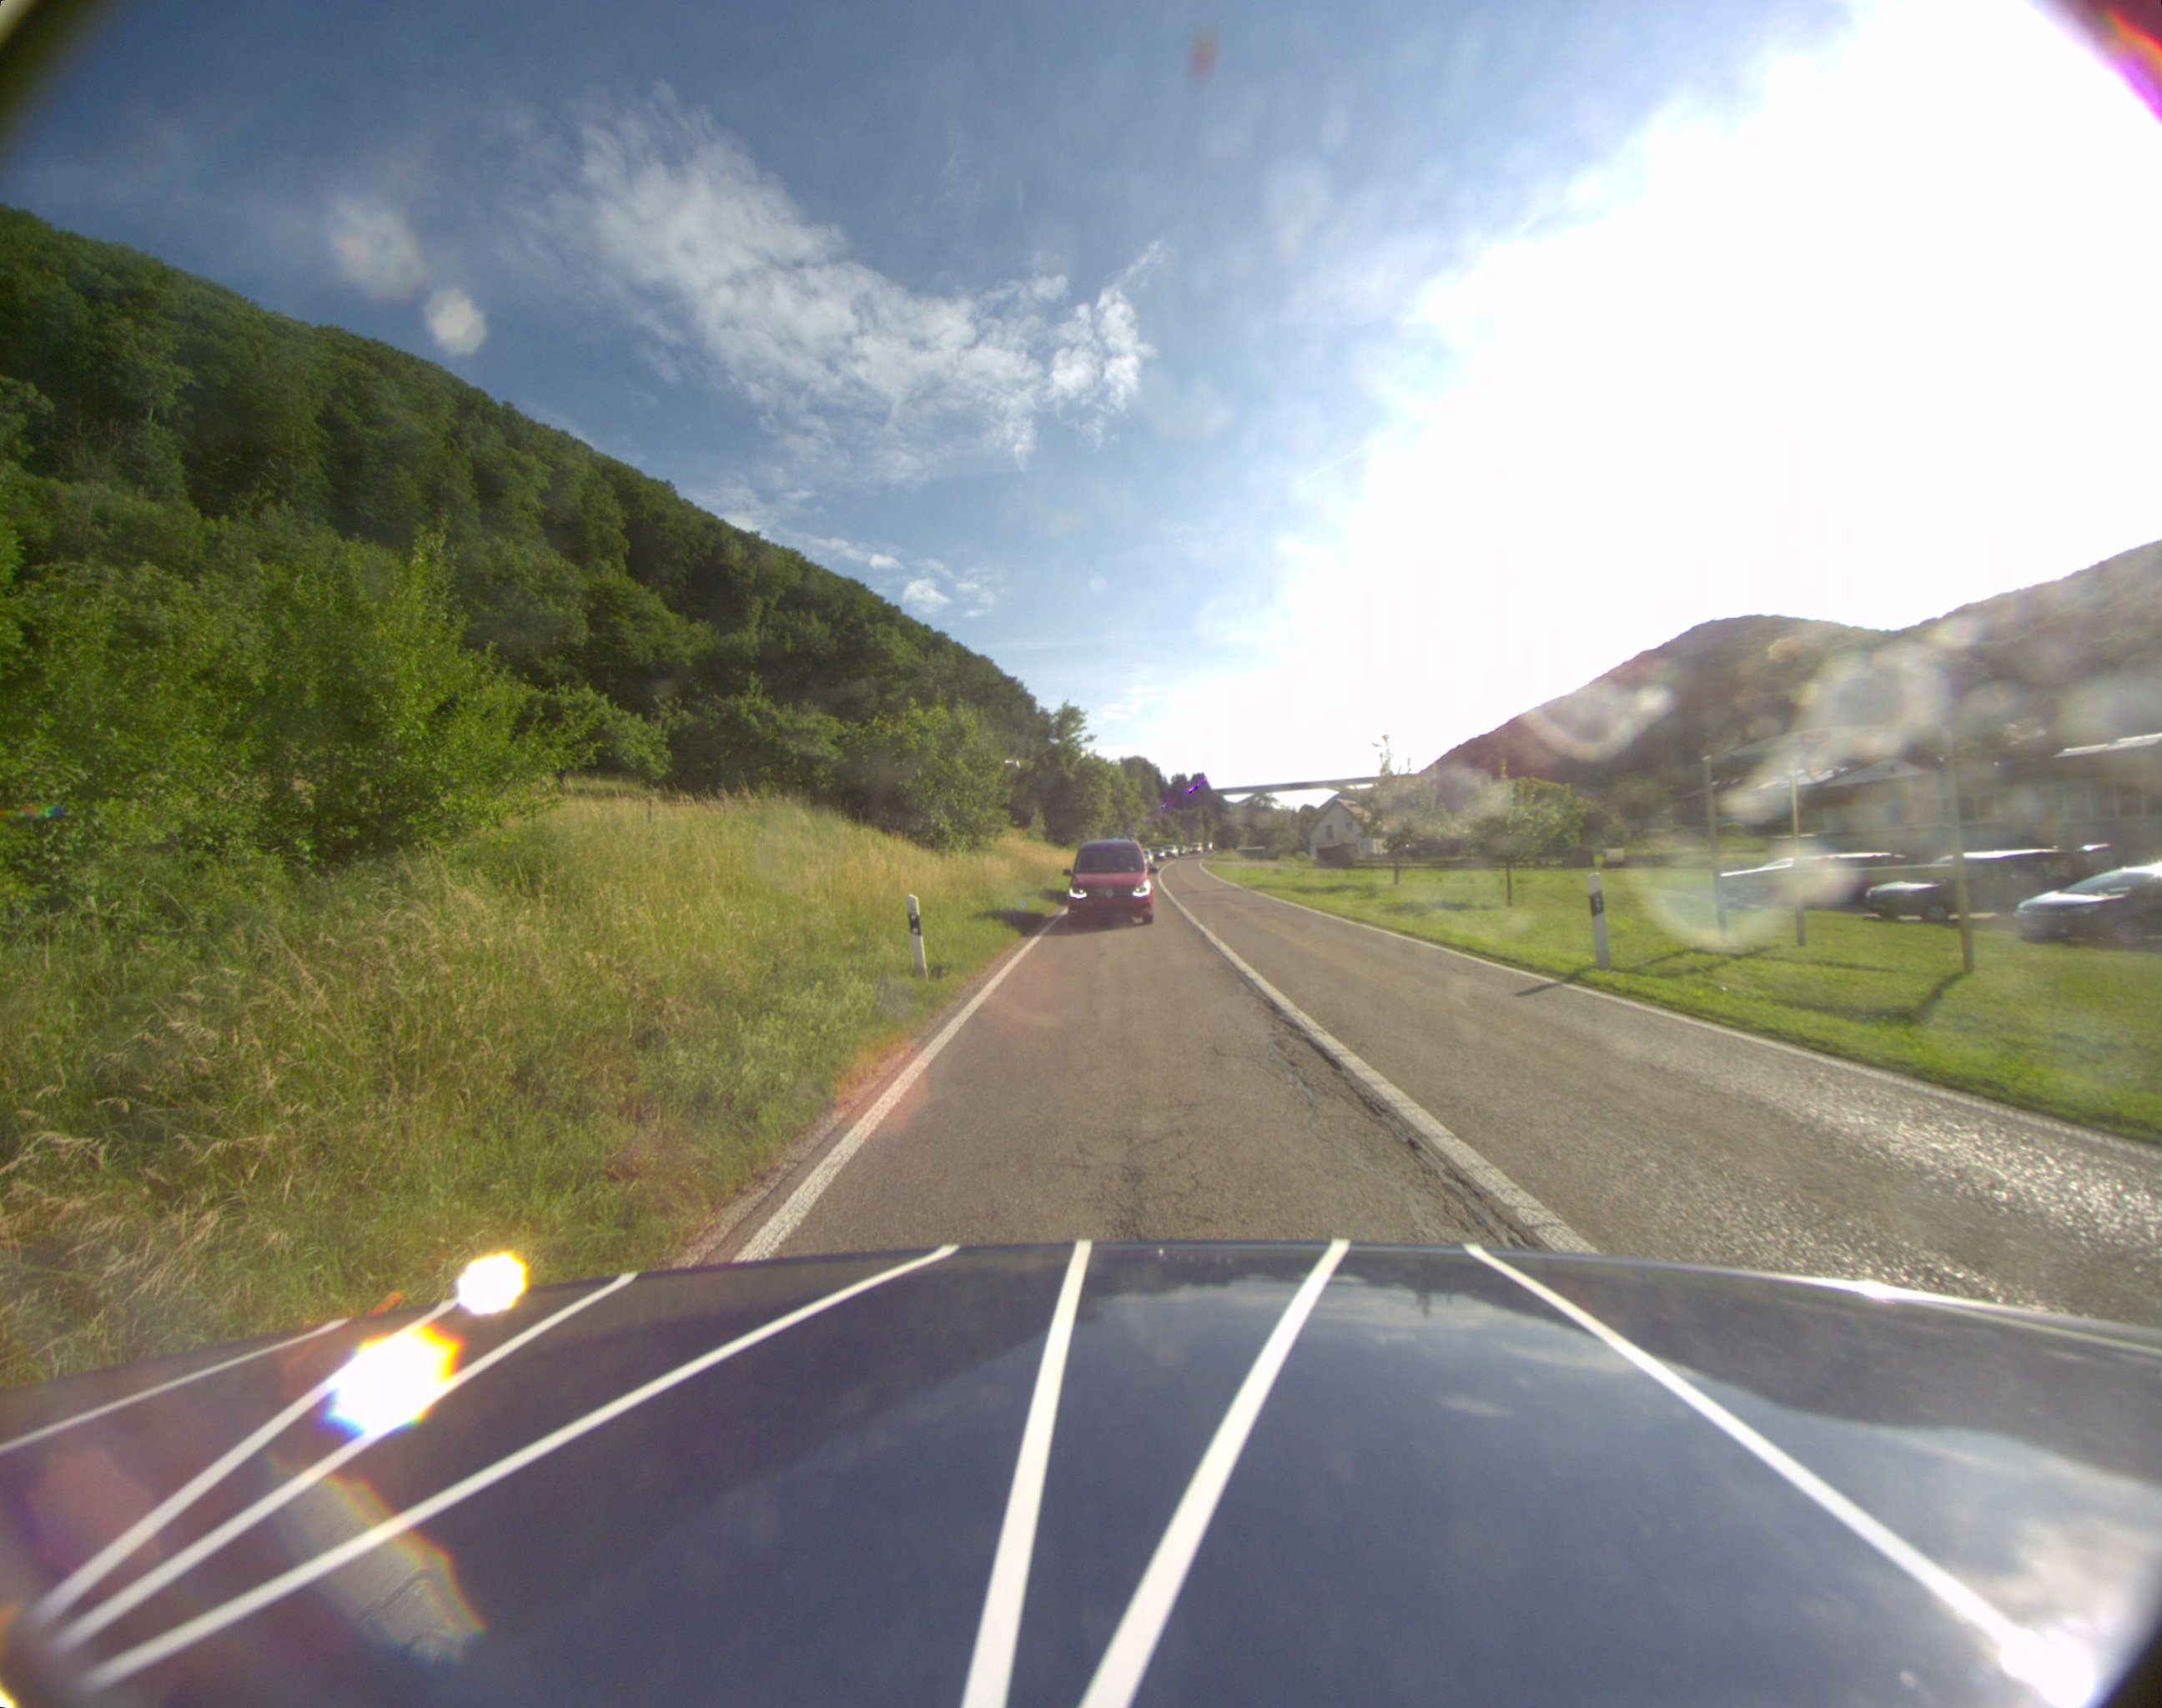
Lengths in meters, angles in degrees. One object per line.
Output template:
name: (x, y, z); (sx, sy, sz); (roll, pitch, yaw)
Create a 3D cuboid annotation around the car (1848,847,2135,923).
car: (24.316, 0.808, 20.492); (5.000, 1.783, 1.685); (-2, 1, 11)

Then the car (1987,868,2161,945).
car: (22.304, 1.061, 15.959); (4.014, 1.443, 1.686); (-2, -1, 11)

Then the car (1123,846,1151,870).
car: (3.938, 0.271, 53.228); (1.629, 1.470, 3.681); (-2, 1, 9)

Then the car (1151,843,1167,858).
car: (8.313, -0.383, 80.946); (1.629, 1.470, 3.680); (-2, 1, 5)

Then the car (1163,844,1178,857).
car: (11.079, -0.487, 93.887); (1.629, 1.470, 3.680); (-2, 1, 5)

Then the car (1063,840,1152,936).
car: (0.670, 0.616, 16.510); (1.648, 1.762, 4.000); (-2, 1, 5)

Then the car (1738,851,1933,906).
car: (25.523, 0.833, 25.899); (4.327, 1.660, 1.850); (-2, 1, 17)

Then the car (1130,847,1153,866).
car: (5.208, 0.167, 64.879); (1.629, 1.470, 3.681); (-2, 1, 9)

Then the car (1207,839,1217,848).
car: (23.954, -1.974, 138.484); (1.628, 1.470, 3.682); (-2, 1, 12)

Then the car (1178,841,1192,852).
car: (14.996, -1.076, 109.083); (1.628, 1.470, 3.682); (-2, 1, 12)

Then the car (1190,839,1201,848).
car: (18.925, -1.782, 125.801); (1.629, 1.470, 3.681); (-2, 1, 8)

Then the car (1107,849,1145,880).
car: (2.483, 0.518, 41.252); (1.629, 1.470, 3.681); (-2, 1, 9)

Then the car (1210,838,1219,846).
car: (26.462, -2.311, 150.770); (1.628, 1.470, 3.682); (-2, 1, 12)

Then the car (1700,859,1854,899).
car: (26.293, 0.937, 28.865); (3.892, 1.361, 1.854); (-1, 2, 14)
